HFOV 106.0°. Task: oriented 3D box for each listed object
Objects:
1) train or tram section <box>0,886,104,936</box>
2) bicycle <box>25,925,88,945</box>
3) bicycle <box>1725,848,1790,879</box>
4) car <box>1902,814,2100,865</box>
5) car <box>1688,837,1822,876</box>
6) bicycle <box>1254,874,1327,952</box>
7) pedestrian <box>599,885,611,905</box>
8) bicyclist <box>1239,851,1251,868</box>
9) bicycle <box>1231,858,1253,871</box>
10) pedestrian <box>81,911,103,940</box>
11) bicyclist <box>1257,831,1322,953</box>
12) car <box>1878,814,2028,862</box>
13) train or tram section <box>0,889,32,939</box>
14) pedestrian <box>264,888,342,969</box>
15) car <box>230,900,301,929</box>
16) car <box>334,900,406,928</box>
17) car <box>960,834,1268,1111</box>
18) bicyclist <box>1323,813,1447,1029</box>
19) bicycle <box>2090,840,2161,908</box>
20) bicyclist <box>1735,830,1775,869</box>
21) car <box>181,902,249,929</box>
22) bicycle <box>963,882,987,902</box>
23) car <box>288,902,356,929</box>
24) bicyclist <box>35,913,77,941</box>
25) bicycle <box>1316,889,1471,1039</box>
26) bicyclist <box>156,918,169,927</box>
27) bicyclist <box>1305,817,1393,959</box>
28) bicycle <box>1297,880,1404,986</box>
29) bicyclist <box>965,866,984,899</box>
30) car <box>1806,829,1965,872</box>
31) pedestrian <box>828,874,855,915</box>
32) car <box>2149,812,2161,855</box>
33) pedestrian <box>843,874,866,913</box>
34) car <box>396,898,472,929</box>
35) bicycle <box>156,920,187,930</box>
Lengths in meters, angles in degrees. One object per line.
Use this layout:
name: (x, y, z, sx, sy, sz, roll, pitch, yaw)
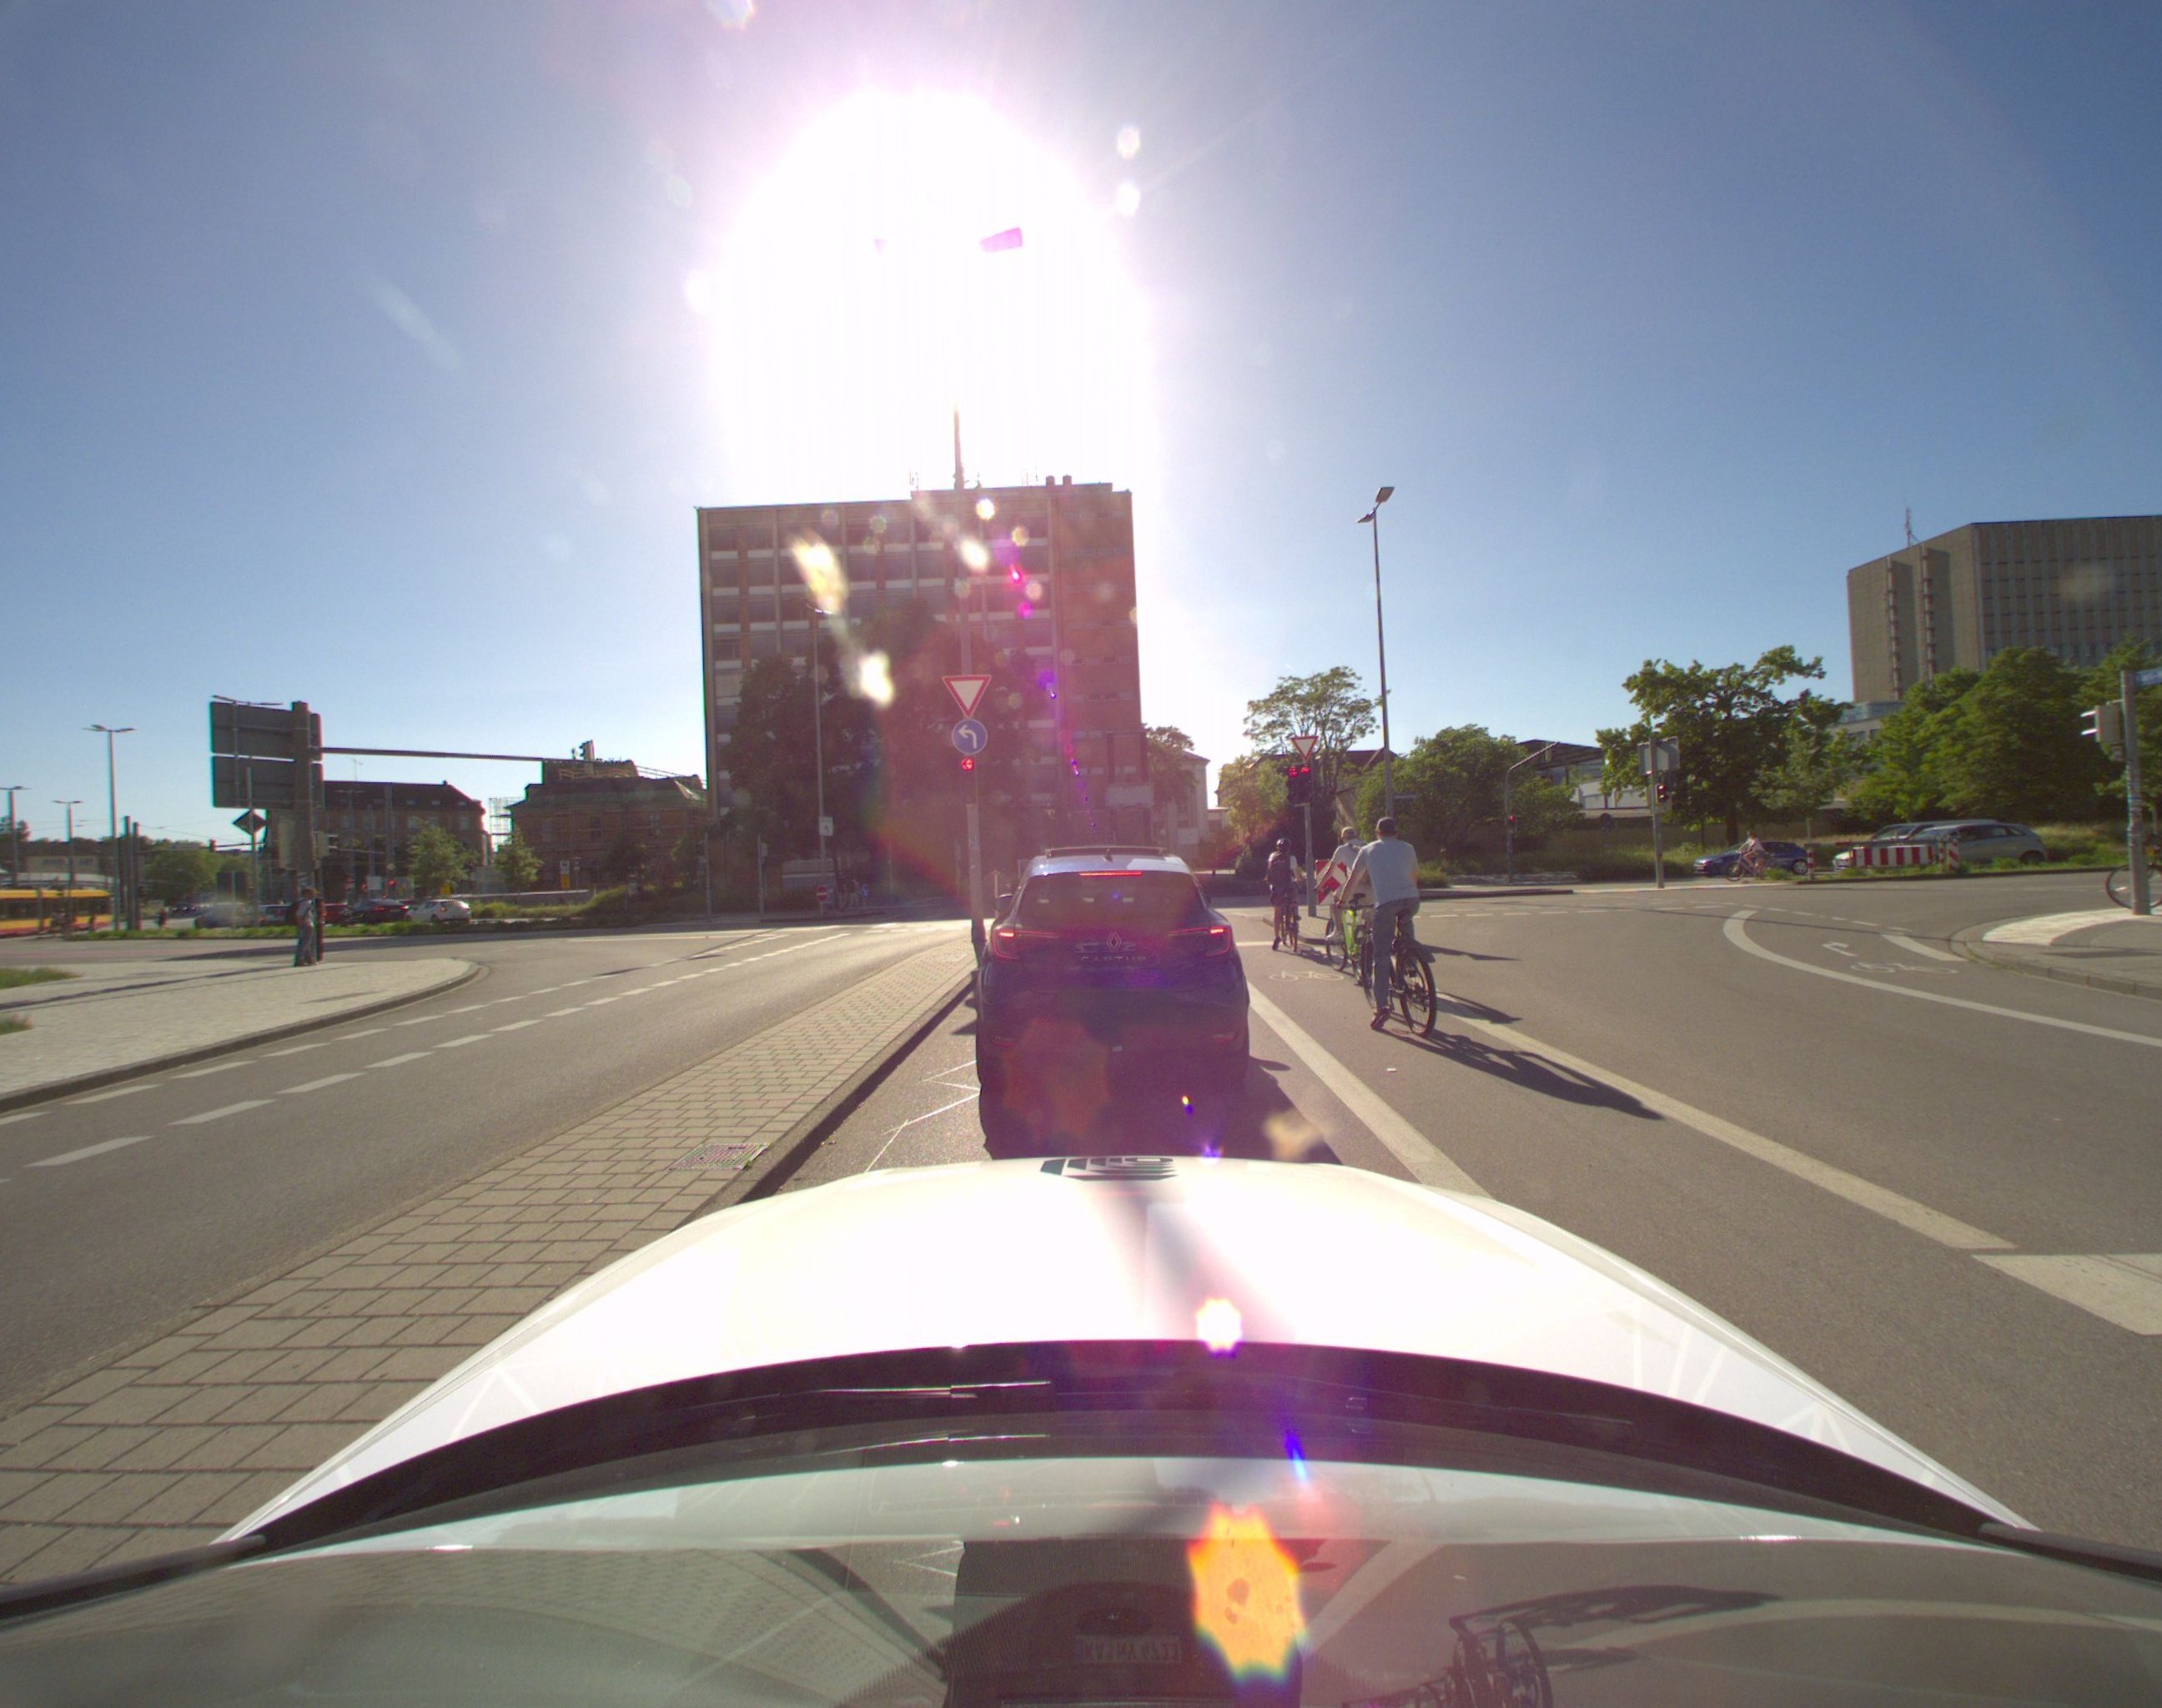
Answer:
train or tram section: (-77.635, 4.121, 60.895, 2.711, 3.232, 10.492, 0, -1, -32)
bicycle: (-66.046, 5.226, 52.544, 2.433, 1.062, 0.800, 0, -1, -44)
bicycle: (24.106, 0.326, 29.033, 1.673, 1.033, 0.612, -3, -1, 7)
car: (29.220, -0.432, 25.994, 3.965, 1.398, 1.798, -3, -1, 7)
car: (28.135, 0.108, 34.099, 3.965, 1.398, 1.798, -3, -1, 7)
bicycle: (3.265, 0.890, 12.864, 0.687, 1.089, 1.923, -1, 0, 2)
pedestrian: (-43.525, 3.742, 74.468, 0.680, 1.730, 0.759, -2, -1, -7)
bicyclist: (14.404, 0.459, 71.624, 0.696, 1.481, 0.713, -2, -1, -18)
bicycle: (14.245, 0.917, 72.120, 0.696, 1.140, 2.426, -2, -1, -18)
pedestrian: (-62.923, 4.514, 51.826, 0.781, 1.762, 0.697, -2, -1, -43)
bicyclist: (3.222, 0.564, 12.676, 0.697, 1.791, 1.142, -1, -1, 2)
car: (35.871, -0.616, 33.600, 3.965, 1.749, 1.798, -3, -1, 7)
train or tram section: (-72.040, 4.007, 52.040, 2.711, 3.232, 10.492, 0, -1, -32)
pedestrian: (-17.729, 1.679, 18.574, 0.647, 1.730, 1.066, -3, -1, 15)
car: (-48.863, 3.620, 48.801, 3.834, 1.508, 1.805, -3, -1, 25)
car: (-42.549, 3.578, 48.736, 3.834, 1.508, 1.805, -3, -1, 25)
car: (0.196, 0.710, 6.761, 1.783, 1.585, 3.913, -1, 0, 0)
bicyclist: (2.711, 0.559, 7.382, 0.680, 1.791, 1.142, -1, -1, 2)
bicycle: (15.914, 0.271, 11.620, 0.640, 0.958, 1.866, -2, -1, -39)
bicyclist: (24.035, -0.157, 29.044, 0.870, 1.343, 0.612, -2, -1, 7)
car: (-54.912, 3.909, 51.634, 3.834, 1.508, 1.805, -3, -1, 25)
bicycle: (-5.726, 2.052, 44.166, 0.751, 0.985, 2.098, -2, 0, 8)
car: (-48.205, 3.886, 51.706, 3.834, 1.508, 1.805, -3, -1, 25)
bicyclist: (-66.059, 4.683, 52.504, 1.585, 1.634, 0.800, 0, -1, -44)
bicycle: (2.723, 0.903, 7.330, 0.687, 1.089, 1.923, -1, 0, 2)
bicyclist: (-63.807, 4.771, 56.595, 0.425, 0.549, 0.575, -3, -1, 42)
bicyclist: (3.193, 0.387, 9.811, 0.676, 1.594, 1.142, -1, -1, 1)
bicycle: (3.196, 0.895, 9.842, 0.687, 1.089, 1.923, -1, 0, 2)
bicyclist: (-5.763, 1.545, 44.066, 0.751, 1.716, 1.001, -2, -1, 7)
car: (30.296, -0.134, 30.786, 3.965, 1.398, 1.798, -3, -1, 7)
pedestrian: (-11.155, 1.872, 37.965, 0.807, 1.862, 0.913, -3, -1, 15)
car: (36.901, -0.762, 25.323, 4.534, 1.398, 1.798, -3, -1, 7)
pedestrian: (-10.407, 1.804, 37.428, 0.675, 1.730, 0.764, -3, -1, 15)
car: (-36.393, 3.350, 45.831, 3.834, 1.508, 1.805, -3, -1, 25)
bicycle: (-63.517, 4.940, 56.895, 0.429, 0.549, 1.419, -3, -1, 42)
